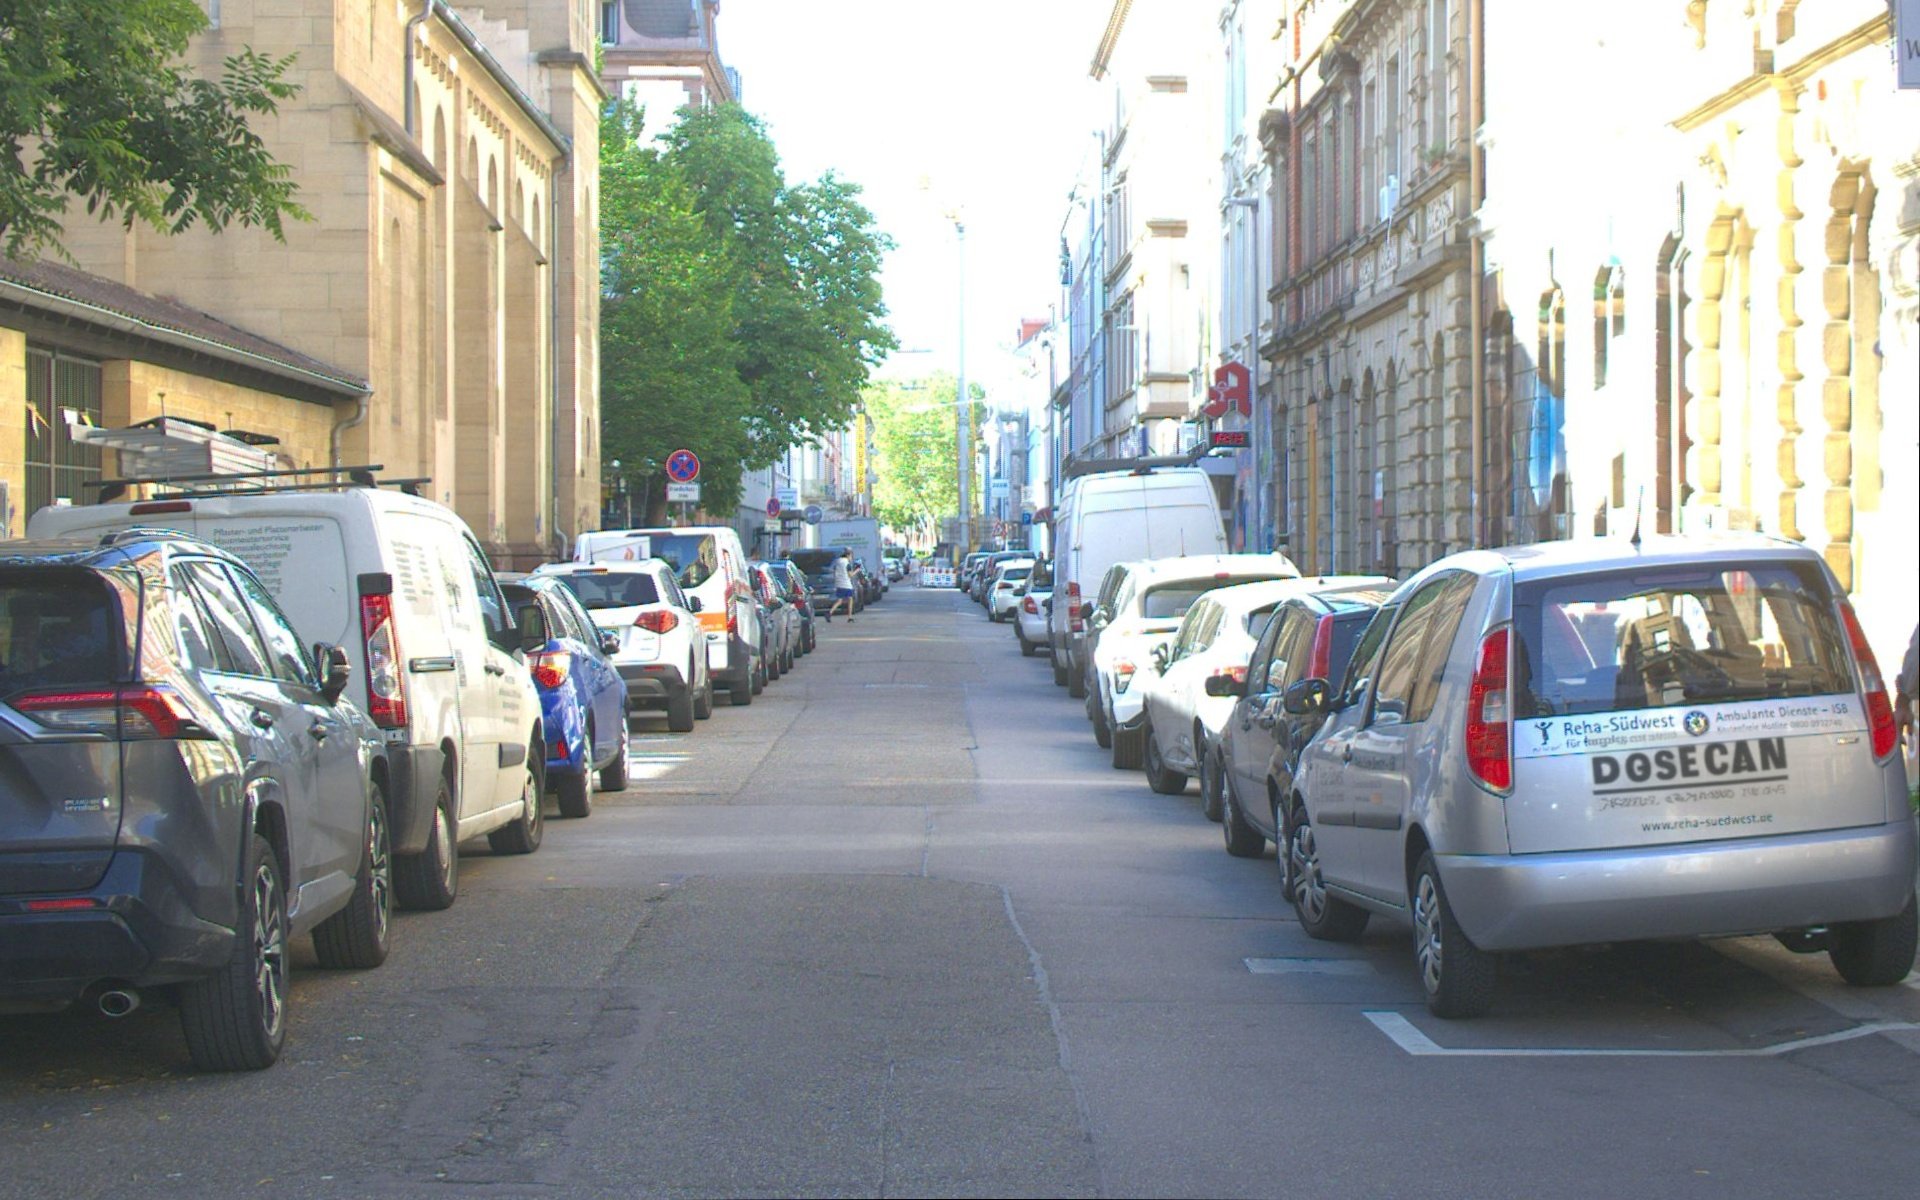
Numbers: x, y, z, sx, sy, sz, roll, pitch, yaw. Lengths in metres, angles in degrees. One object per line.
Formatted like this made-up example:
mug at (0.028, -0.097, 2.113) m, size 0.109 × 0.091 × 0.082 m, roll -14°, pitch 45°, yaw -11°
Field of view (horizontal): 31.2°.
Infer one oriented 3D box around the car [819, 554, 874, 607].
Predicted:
car at (-3.986, -0.705, 120.833) m, size 1.875 × 1.790 × 4.000 m, roll 0°, pitch 1°, yaw -1°

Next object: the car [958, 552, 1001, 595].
car at (0.928, -1.270, 163.240) m, size 1.993 × 2.007 × 4.000 m, roll 0°, pitch 1°, yaw 0°

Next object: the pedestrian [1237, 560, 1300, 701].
pedestrian at (3.930, 0.385, 43.827) m, size 0.639 × 1.766 × 0.679 m, roll 1°, pitch 0°, yaw -6°

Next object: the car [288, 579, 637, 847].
car at (-3.114, 0.652, 22.198) m, size 1.687 × 1.471 × 3.860 m, roll -2°, pitch 1°, yaw -1°

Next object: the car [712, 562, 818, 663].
car at (-3.345, 0.190, 59.389) m, size 1.600 × 1.608 × 3.808 m, roll -3°, pitch 1°, yaw -1°

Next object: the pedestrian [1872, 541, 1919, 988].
pedestrian at (3.726, 0.586, 12.470) m, size 0.590 × 1.598 × 0.727 m, roll -2°, pitch 1°, yaw -2°

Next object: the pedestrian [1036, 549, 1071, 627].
pedestrian at (2.226, -0.283, 81.644) m, size 0.681 × 1.837 × 0.695 m, roll 0°, pitch 1°, yaw -12°

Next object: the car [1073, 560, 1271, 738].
car at (2.037, 0.432, 33.918) m, size 1.687 × 1.637 × 3.925 m, roll 0°, pitch 1°, yaw 0°

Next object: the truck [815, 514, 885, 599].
truck at (-4.360, -1.752, 137.167) m, size 2.532 × 3.270 × 6.995 m, roll 0°, pitch 1°, yaw 0°

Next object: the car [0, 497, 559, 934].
car at (-3.190, 0.444, 16.886) m, size 1.845 × 1.856 × 4.465 m, roll 0°, pitch 1°, yaw 1°

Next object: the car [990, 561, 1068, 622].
car at (1.723, -0.228, 86.931) m, size 1.897 × 1.483 × 3.869 m, roll 0°, pitch 1°, yaw 0°

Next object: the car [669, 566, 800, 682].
car at (-3.207, 0.316, 49.538) m, size 1.673 × 1.553 × 4.000 m, roll -1°, pitch 1°, yaw -1°

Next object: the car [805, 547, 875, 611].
car at (-3.423, -0.614, 98.743) m, size 1.875 × 1.790 × 4.000 m, roll 0°, pitch 1°, yaw 0°

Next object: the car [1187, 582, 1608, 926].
car at (2.138, 0.697, 17.643) m, size 1.535 × 1.508 × 3.682 m, roll -1°, pitch 1°, yaw -2°

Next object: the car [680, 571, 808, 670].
car at (-3.402, 0.295, 54.697) m, size 1.570 × 1.393 × 3.808 m, roll -4°, pitch 1°, yaw 2°

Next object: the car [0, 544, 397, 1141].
car at (-3.041, 0.641, 11.613) m, size 1.740 × 1.641 × 4.289 m, roll 0°, pitch 1°, yaw -3°

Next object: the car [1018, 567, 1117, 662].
car at (1.802, 0.214, 58.502) m, size 1.604 × 1.499 × 4.000 m, roll 1°, pitch 1°, yaw 1°

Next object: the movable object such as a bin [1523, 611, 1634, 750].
movable object such as a bin at (4.866, 0.631, 27.053) m, size 0.548 × 1.049 × 0.603 m, roll -4°, pitch 1°, yaw -33°

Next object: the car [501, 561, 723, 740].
car at (-3.255, 0.429, 32.778) m, size 1.742 × 1.581 × 3.869 m, roll 0°, pitch 1°, yaw 0°

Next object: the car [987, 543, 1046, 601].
car at (1.735, -0.889, 107.432) m, size 1.769 × 1.735 × 4.000 m, roll 0°, pitch 1°, yaw 0°

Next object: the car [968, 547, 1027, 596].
car at (1.303, -1.010, 120.711) m, size 1.993 × 1.626 × 4.000 m, roll 2°, pitch 1°, yaw 0°

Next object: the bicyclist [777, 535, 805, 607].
bicyclist at (-4.017, -0.690, 81.678) m, size 0.605 × 1.682 × 0.885 m, roll 0°, pitch 1°, yaw 0°

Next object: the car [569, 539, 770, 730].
car at (-3.193, 0.328, 38.576) m, size 1.864 × 1.950 × 4.610 m, roll -2°, pitch 1°, yaw -1°

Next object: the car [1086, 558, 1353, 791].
car at (2.012, 0.540, 27.733) m, size 1.808 × 1.684 × 4.214 m, roll 2°, pitch 0°, yaw 0°

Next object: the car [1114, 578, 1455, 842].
car at (2.066, 0.662, 22.875) m, size 1.572 × 1.520 × 3.909 m, roll 2°, pitch 1°, yaw -4°

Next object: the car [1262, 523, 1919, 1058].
car at (2.267, 0.585, 13.155) m, size 1.703 × 1.708 × 3.938 m, roll -1°, pitch 1°, yaw -2°

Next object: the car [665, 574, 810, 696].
car at (-2.875, 0.420, 45.146) m, size 1.615 × 1.447 × 3.950 m, roll -2°, pitch 1°, yaw 0°

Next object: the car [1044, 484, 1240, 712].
car at (2.164, -0.077, 42.408) m, size 2.068 × 2.602 × 5.888 m, roll 0°, pitch 1°, yaw 0°

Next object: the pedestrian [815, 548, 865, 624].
pedestrian at (-2.924, -0.358, 83.888) m, size 0.784 × 1.837 × 1.010 m, roll 1°, pitch 1°, yaw 31°
